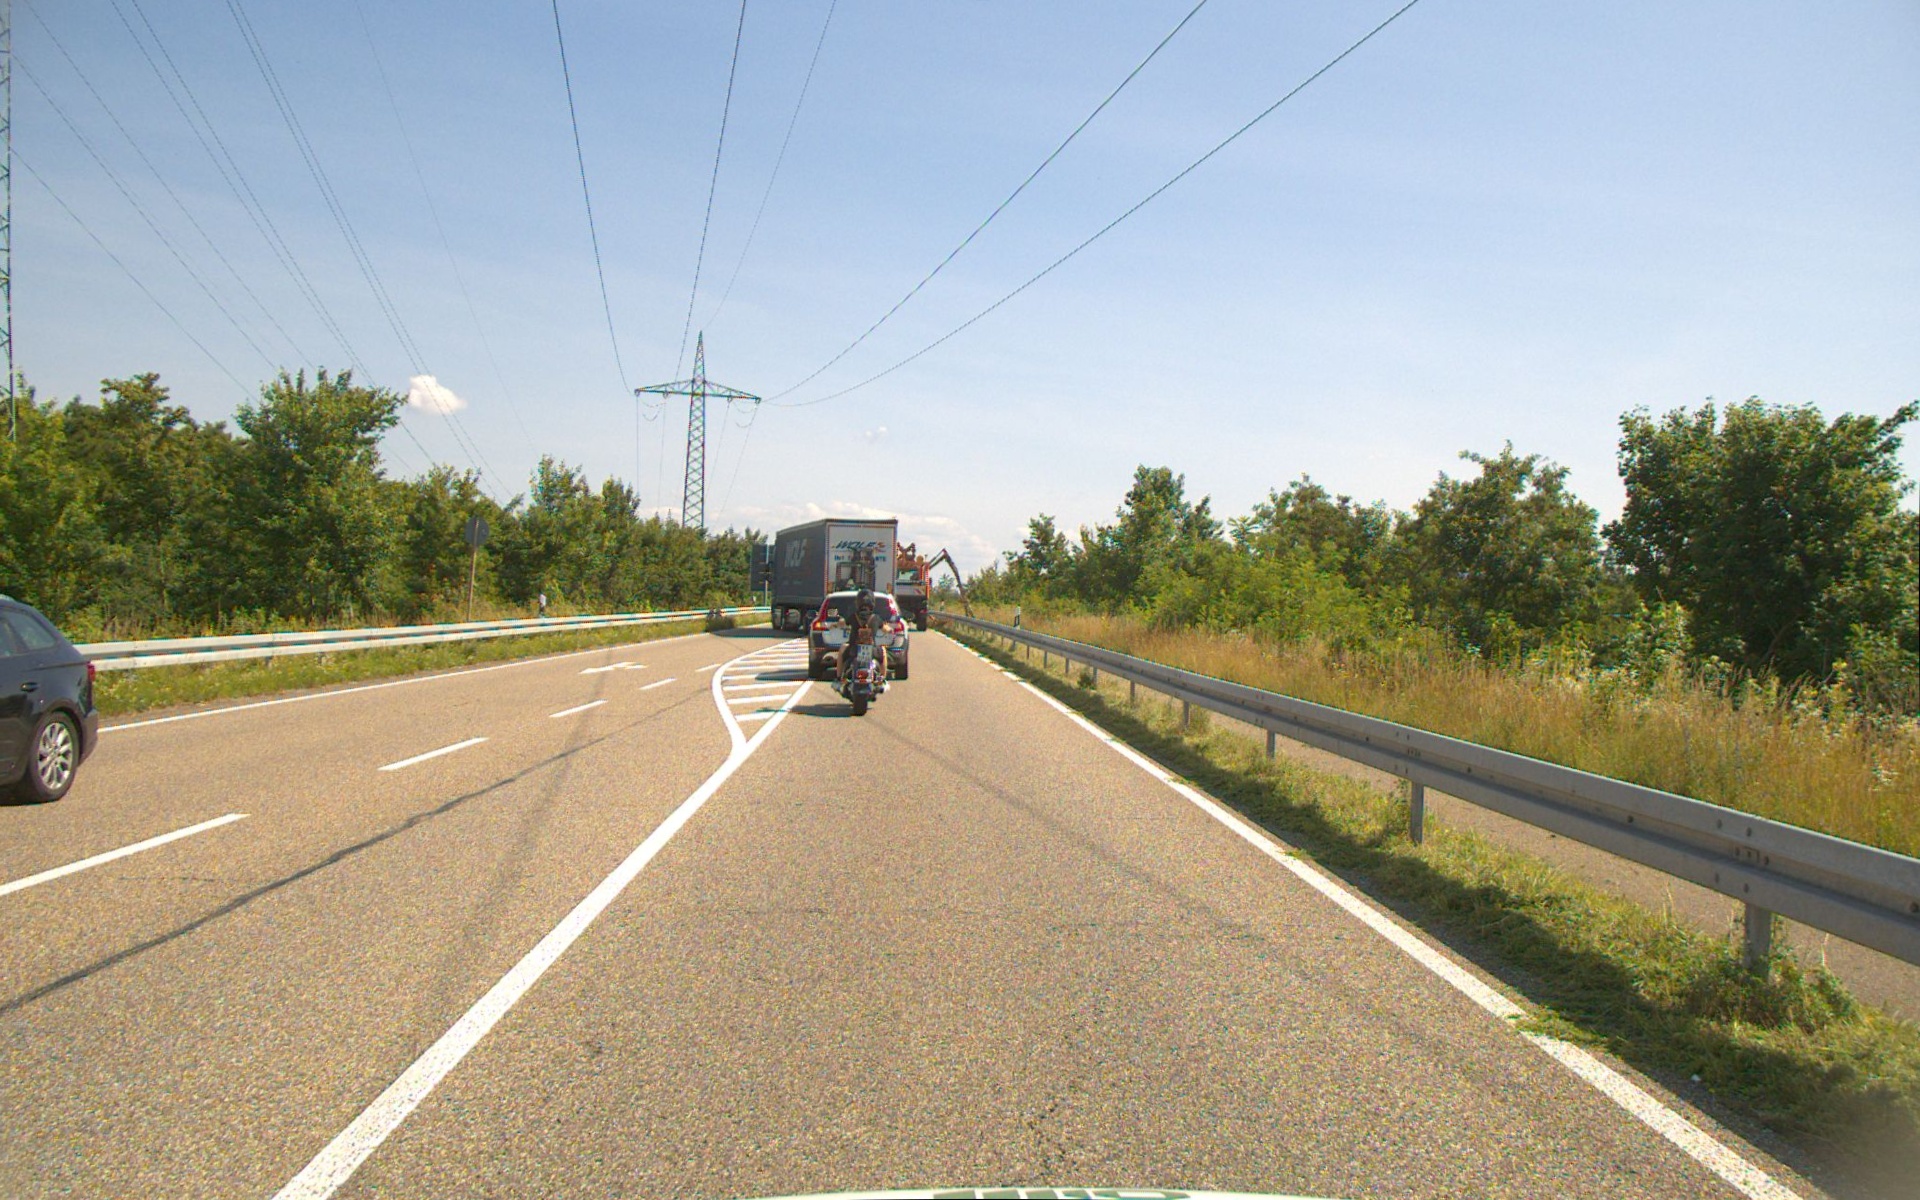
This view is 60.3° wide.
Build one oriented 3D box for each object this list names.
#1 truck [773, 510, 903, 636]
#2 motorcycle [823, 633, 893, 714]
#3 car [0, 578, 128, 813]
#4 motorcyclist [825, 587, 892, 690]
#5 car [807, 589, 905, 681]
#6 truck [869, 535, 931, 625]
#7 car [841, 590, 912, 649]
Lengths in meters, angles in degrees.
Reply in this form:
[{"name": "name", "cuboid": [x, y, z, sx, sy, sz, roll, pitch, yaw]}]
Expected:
[{"name": "truck", "cuboid": [-4.980, -0.978, 63.947, 2.916, 4.260, 14.776, 1, 0, -12]}, {"name": "motorcycle", "cuboid": [-1.333, 0.930, 21.434, 0.842, 0.931, 2.226, 1, 0, -4]}, {"name": "car", "cuboid": [-6.805, 0.587, 9.875, 1.626, 1.467, 4.213, 1, 0, -2]}, {"name": "motorcyclist", "cuboid": [-1.326, 0.488, 21.498, 0.821, 1.303, 0.918, 1, 0, -5]}, {"name": "car", "cuboid": [-1.935, 0.602, 30.444, 1.667, 1.563, 3.496, 1, 0, -4]}, {"name": "truck", "cuboid": [-2.764, -0.871, 74.160, 2.562, 3.776, 6.773, 1, 0, -3]}, {"name": "car", "cuboid": [-2.305, 0.501, 45.439, 1.818, 1.516, 3.738, 1, 0, -3]}]
